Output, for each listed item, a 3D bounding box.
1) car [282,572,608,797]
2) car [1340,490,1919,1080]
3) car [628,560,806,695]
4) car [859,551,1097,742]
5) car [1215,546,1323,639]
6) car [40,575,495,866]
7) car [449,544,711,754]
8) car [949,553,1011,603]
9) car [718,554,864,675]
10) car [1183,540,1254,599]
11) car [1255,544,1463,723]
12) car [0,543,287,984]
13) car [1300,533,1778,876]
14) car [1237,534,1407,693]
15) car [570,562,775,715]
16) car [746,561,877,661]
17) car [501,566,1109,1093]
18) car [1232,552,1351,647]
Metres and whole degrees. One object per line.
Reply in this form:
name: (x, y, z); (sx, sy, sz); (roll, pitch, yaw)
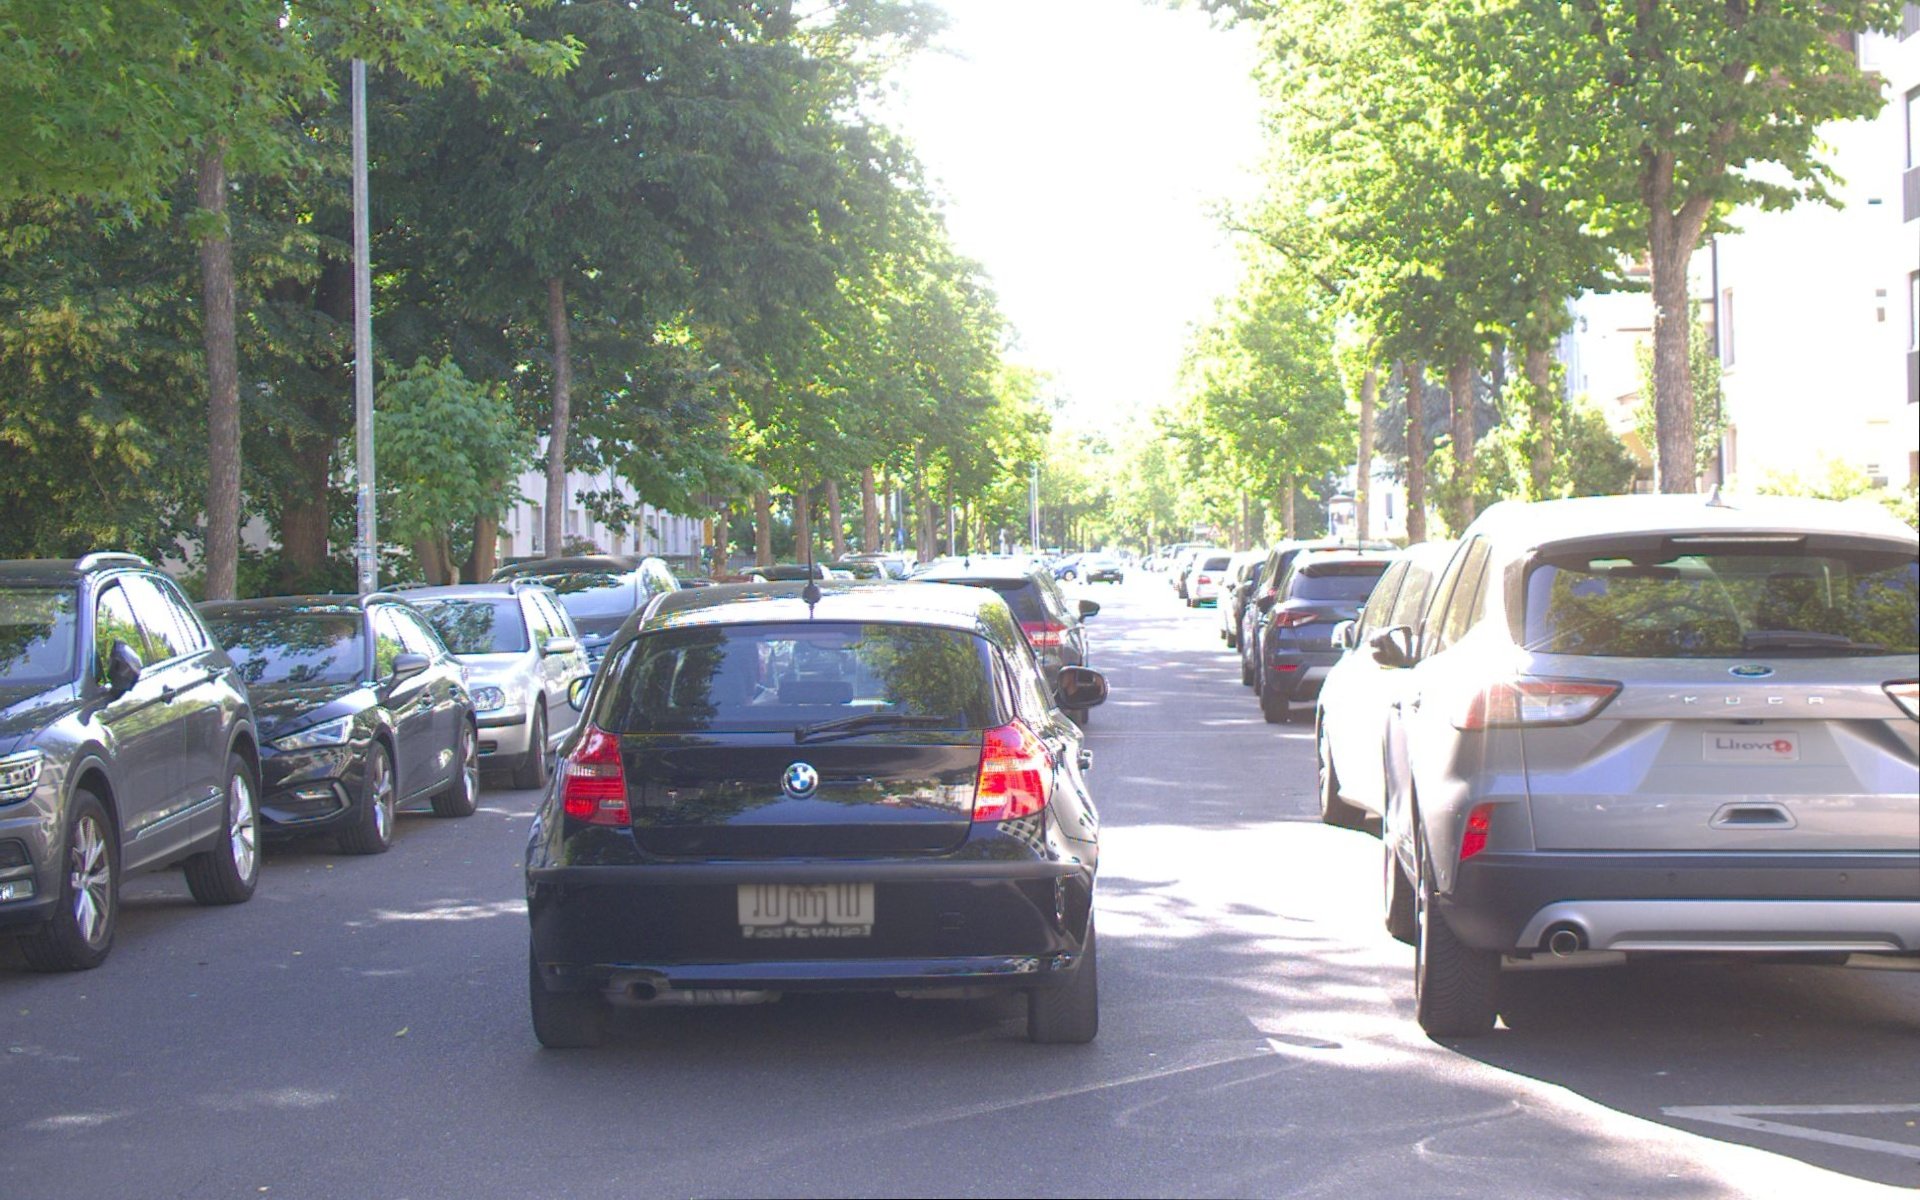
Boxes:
car: (-3.670, 0.555, 25.063); (1.612, 1.422, 3.725); (-2, 1, 3)
car: (2.290, 0.499, 11.715); (1.848, 1.625, 4.410); (0, 0, 5)
car: (-2.837, 0.289, 40.794); (1.612, 1.447, 3.865); (-2, 1, 3)
car: (0.221, 0.335, 28.843); (1.649, 1.421, 4.001); (-2, 1, 5)
car: (5.150, -0.155, 57.663); (1.721, 1.475, 3.850); (1, 1, 4)
car: (-3.891, 0.614, 19.973); (1.612, 1.422, 4.058); (-2, 1, 3)
car: (-3.292, 0.374, 30.488); (1.612, 1.673, 4.234); (-2, 1, 3)
car: (0.606, -0.663, 100.942); (1.612, 1.387, 3.865); (-2, 1, 3)
car: (-2.306, 0.171, 47.685); (1.612, 1.538, 3.865); (-2, 1, 3)
car: (7.006, -0.840, 92.903); (1.721, 1.475, 3.850); (-2, 1, 6)
car: (3.627, 0.255, 31.798); (1.721, 1.523, 4.000); (1, 1, 4)
car: (-4.156, 0.600, 14.671); (1.612, 1.606, 4.230); (-2, 1, 1)
car: (2.791, 0.441, 17.388); (1.693, 1.518, 4.000); (-1, 1, -1)
car: (3.929, 0.106, 37.797); (1.721, 1.635, 3.850); (1, 1, 4)
car: (-2.970, 0.362, 36.183); (1.612, 1.447, 3.865); (-2, 1, 3)
car: (-2.240, 0.143, 52.620); (1.612, 1.387, 3.865); (-2, 1, 3)
car: (-0.497, 0.622, 11.293); (1.649, 1.392, 3.412); (-2, 1, -2)
car: (5.065, -0.036, 52.872); (1.721, 1.375, 3.850); (1, 1, 4)
